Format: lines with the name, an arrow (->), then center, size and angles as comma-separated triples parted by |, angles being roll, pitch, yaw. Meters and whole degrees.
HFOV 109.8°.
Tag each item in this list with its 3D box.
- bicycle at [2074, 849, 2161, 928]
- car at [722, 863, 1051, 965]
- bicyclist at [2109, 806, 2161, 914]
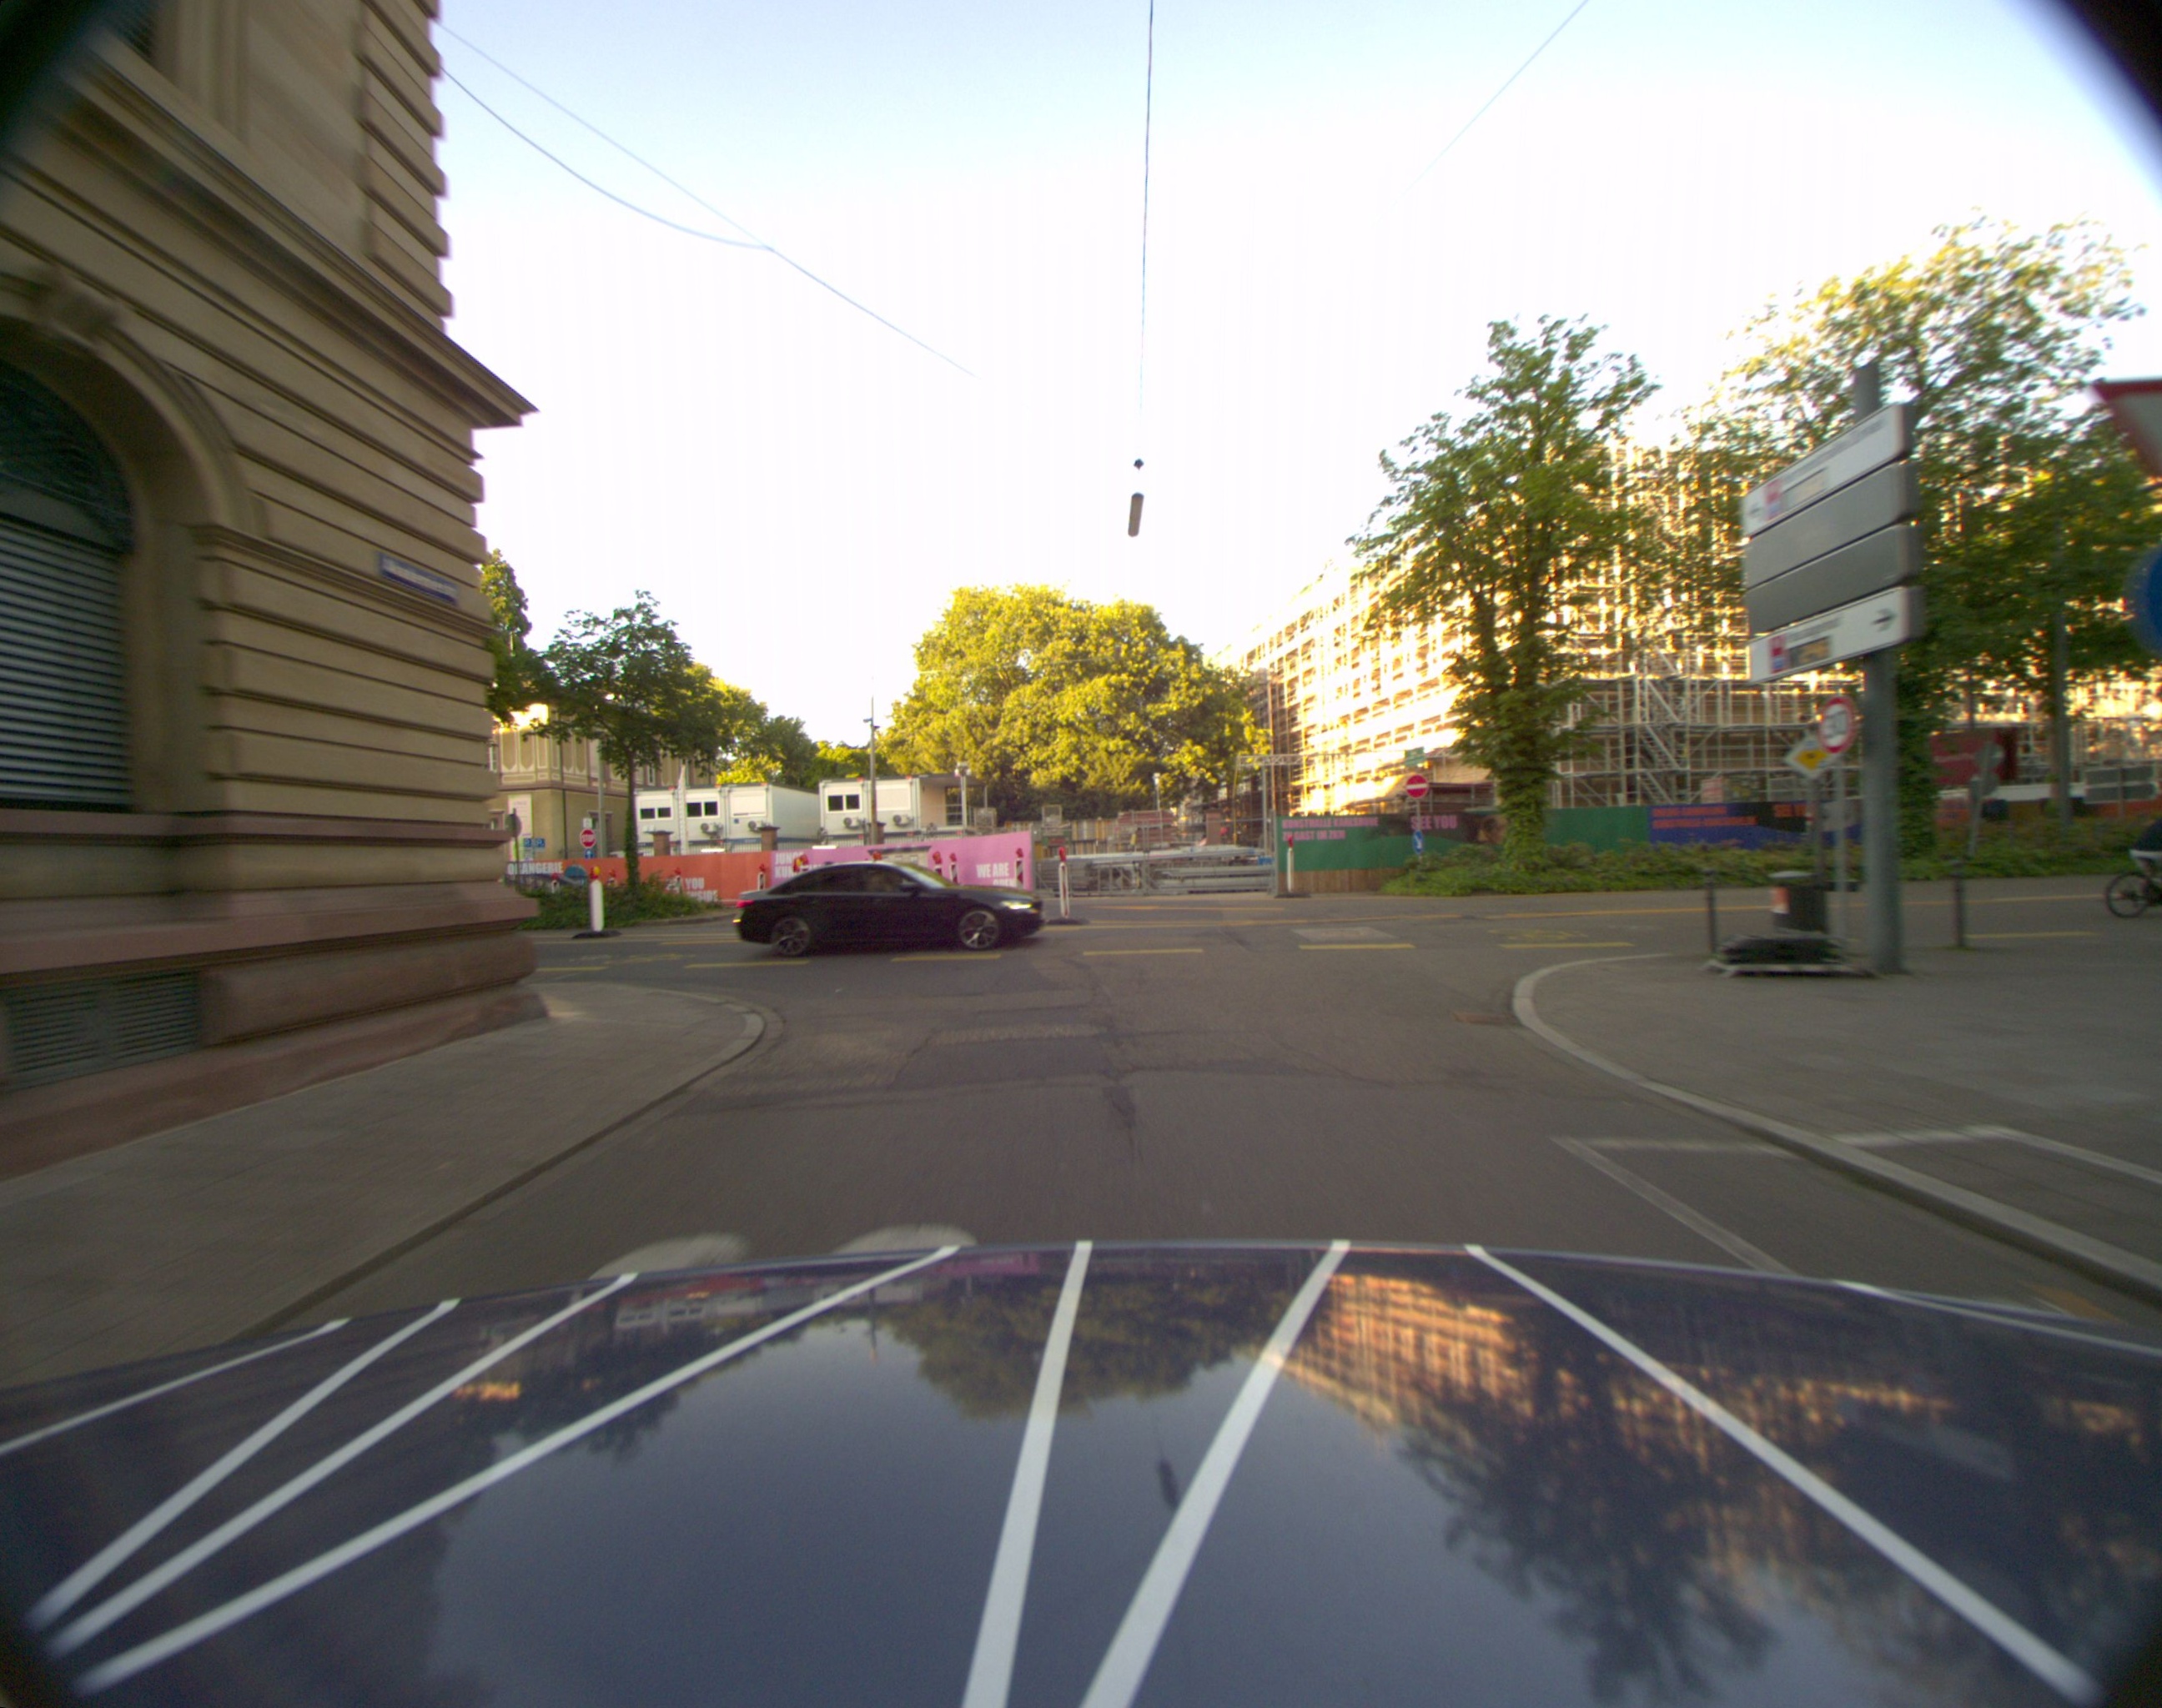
bicycle -> 16.065, 0.484, 11.265 | 1.900, 1.065, 0.671 | -2, 2, -3
car -> -3.033, 0.939, 12.477 | 4.775, 1.378, 1.966 | -2, 1, 6
bicyclist -> 16.039, 0.074, 11.249 | 0.698, 1.557, 0.670 | -2, 3, -2
